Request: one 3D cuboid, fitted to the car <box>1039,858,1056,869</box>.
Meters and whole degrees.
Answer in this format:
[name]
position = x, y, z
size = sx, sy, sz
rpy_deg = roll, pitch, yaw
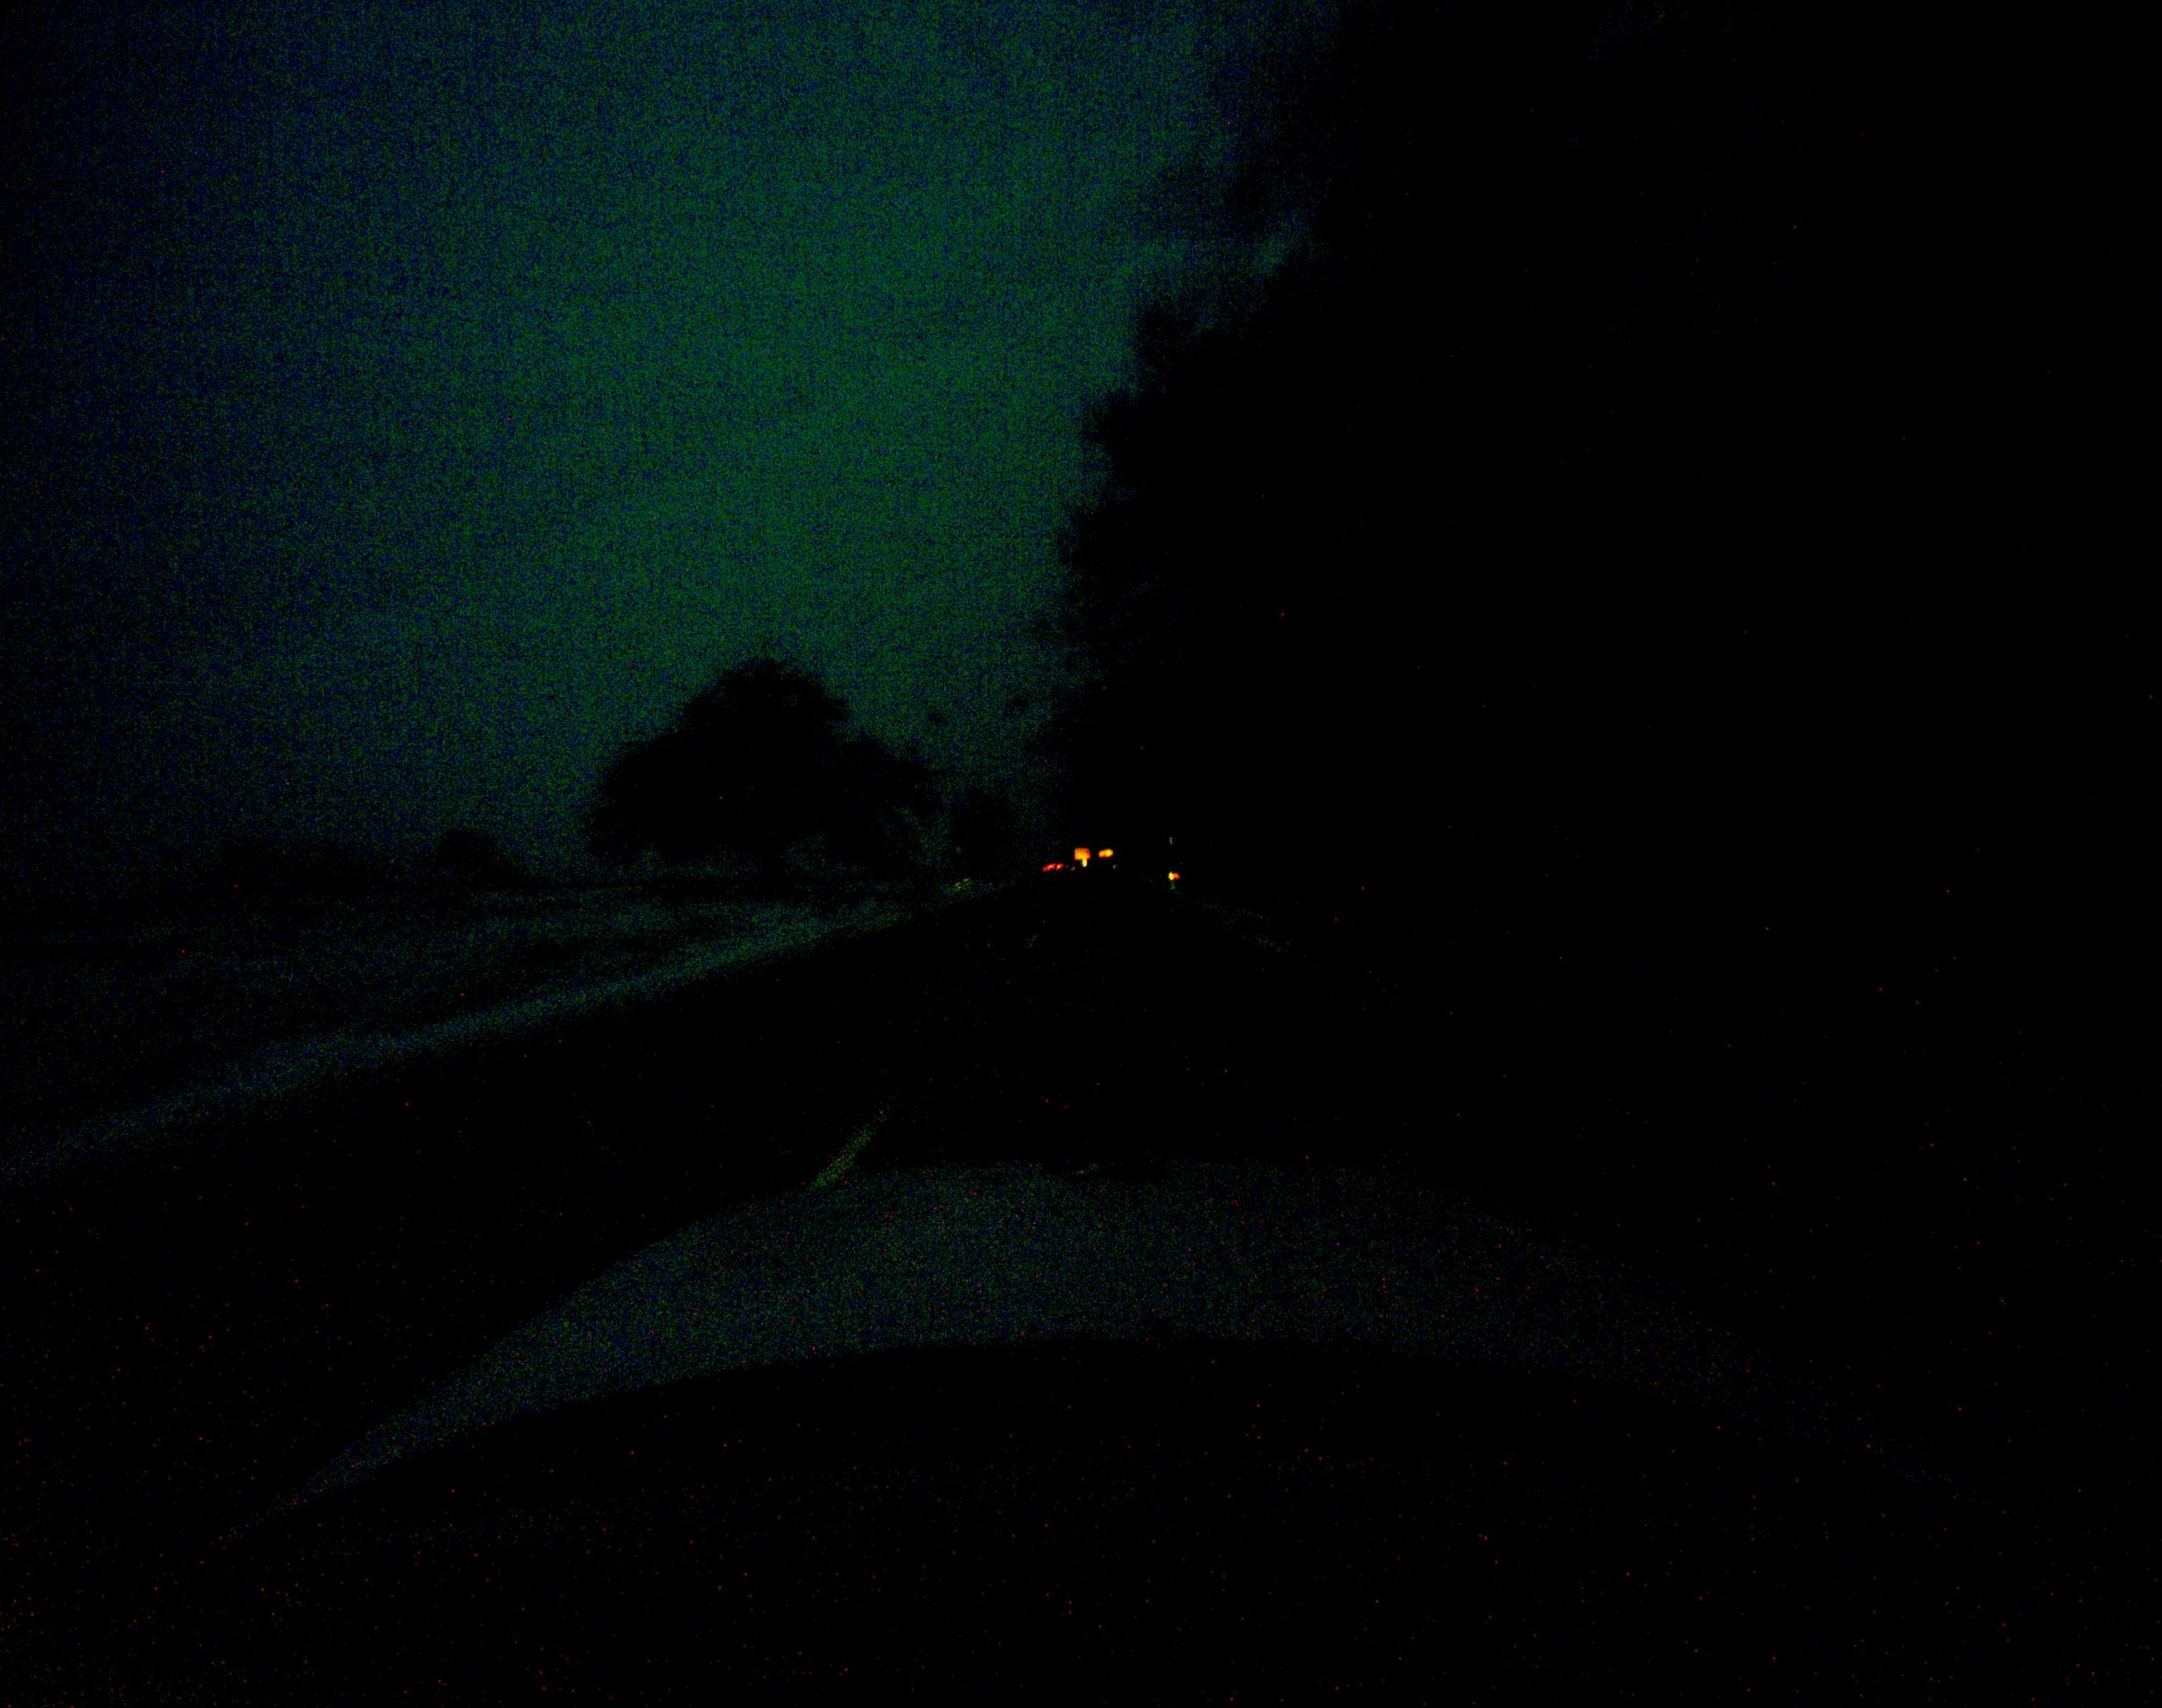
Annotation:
[car]
position = -4.557, 1.296, 111.376
size = 1.915, 1.277, 4.002
rpy_deg = -3, 0, 2
